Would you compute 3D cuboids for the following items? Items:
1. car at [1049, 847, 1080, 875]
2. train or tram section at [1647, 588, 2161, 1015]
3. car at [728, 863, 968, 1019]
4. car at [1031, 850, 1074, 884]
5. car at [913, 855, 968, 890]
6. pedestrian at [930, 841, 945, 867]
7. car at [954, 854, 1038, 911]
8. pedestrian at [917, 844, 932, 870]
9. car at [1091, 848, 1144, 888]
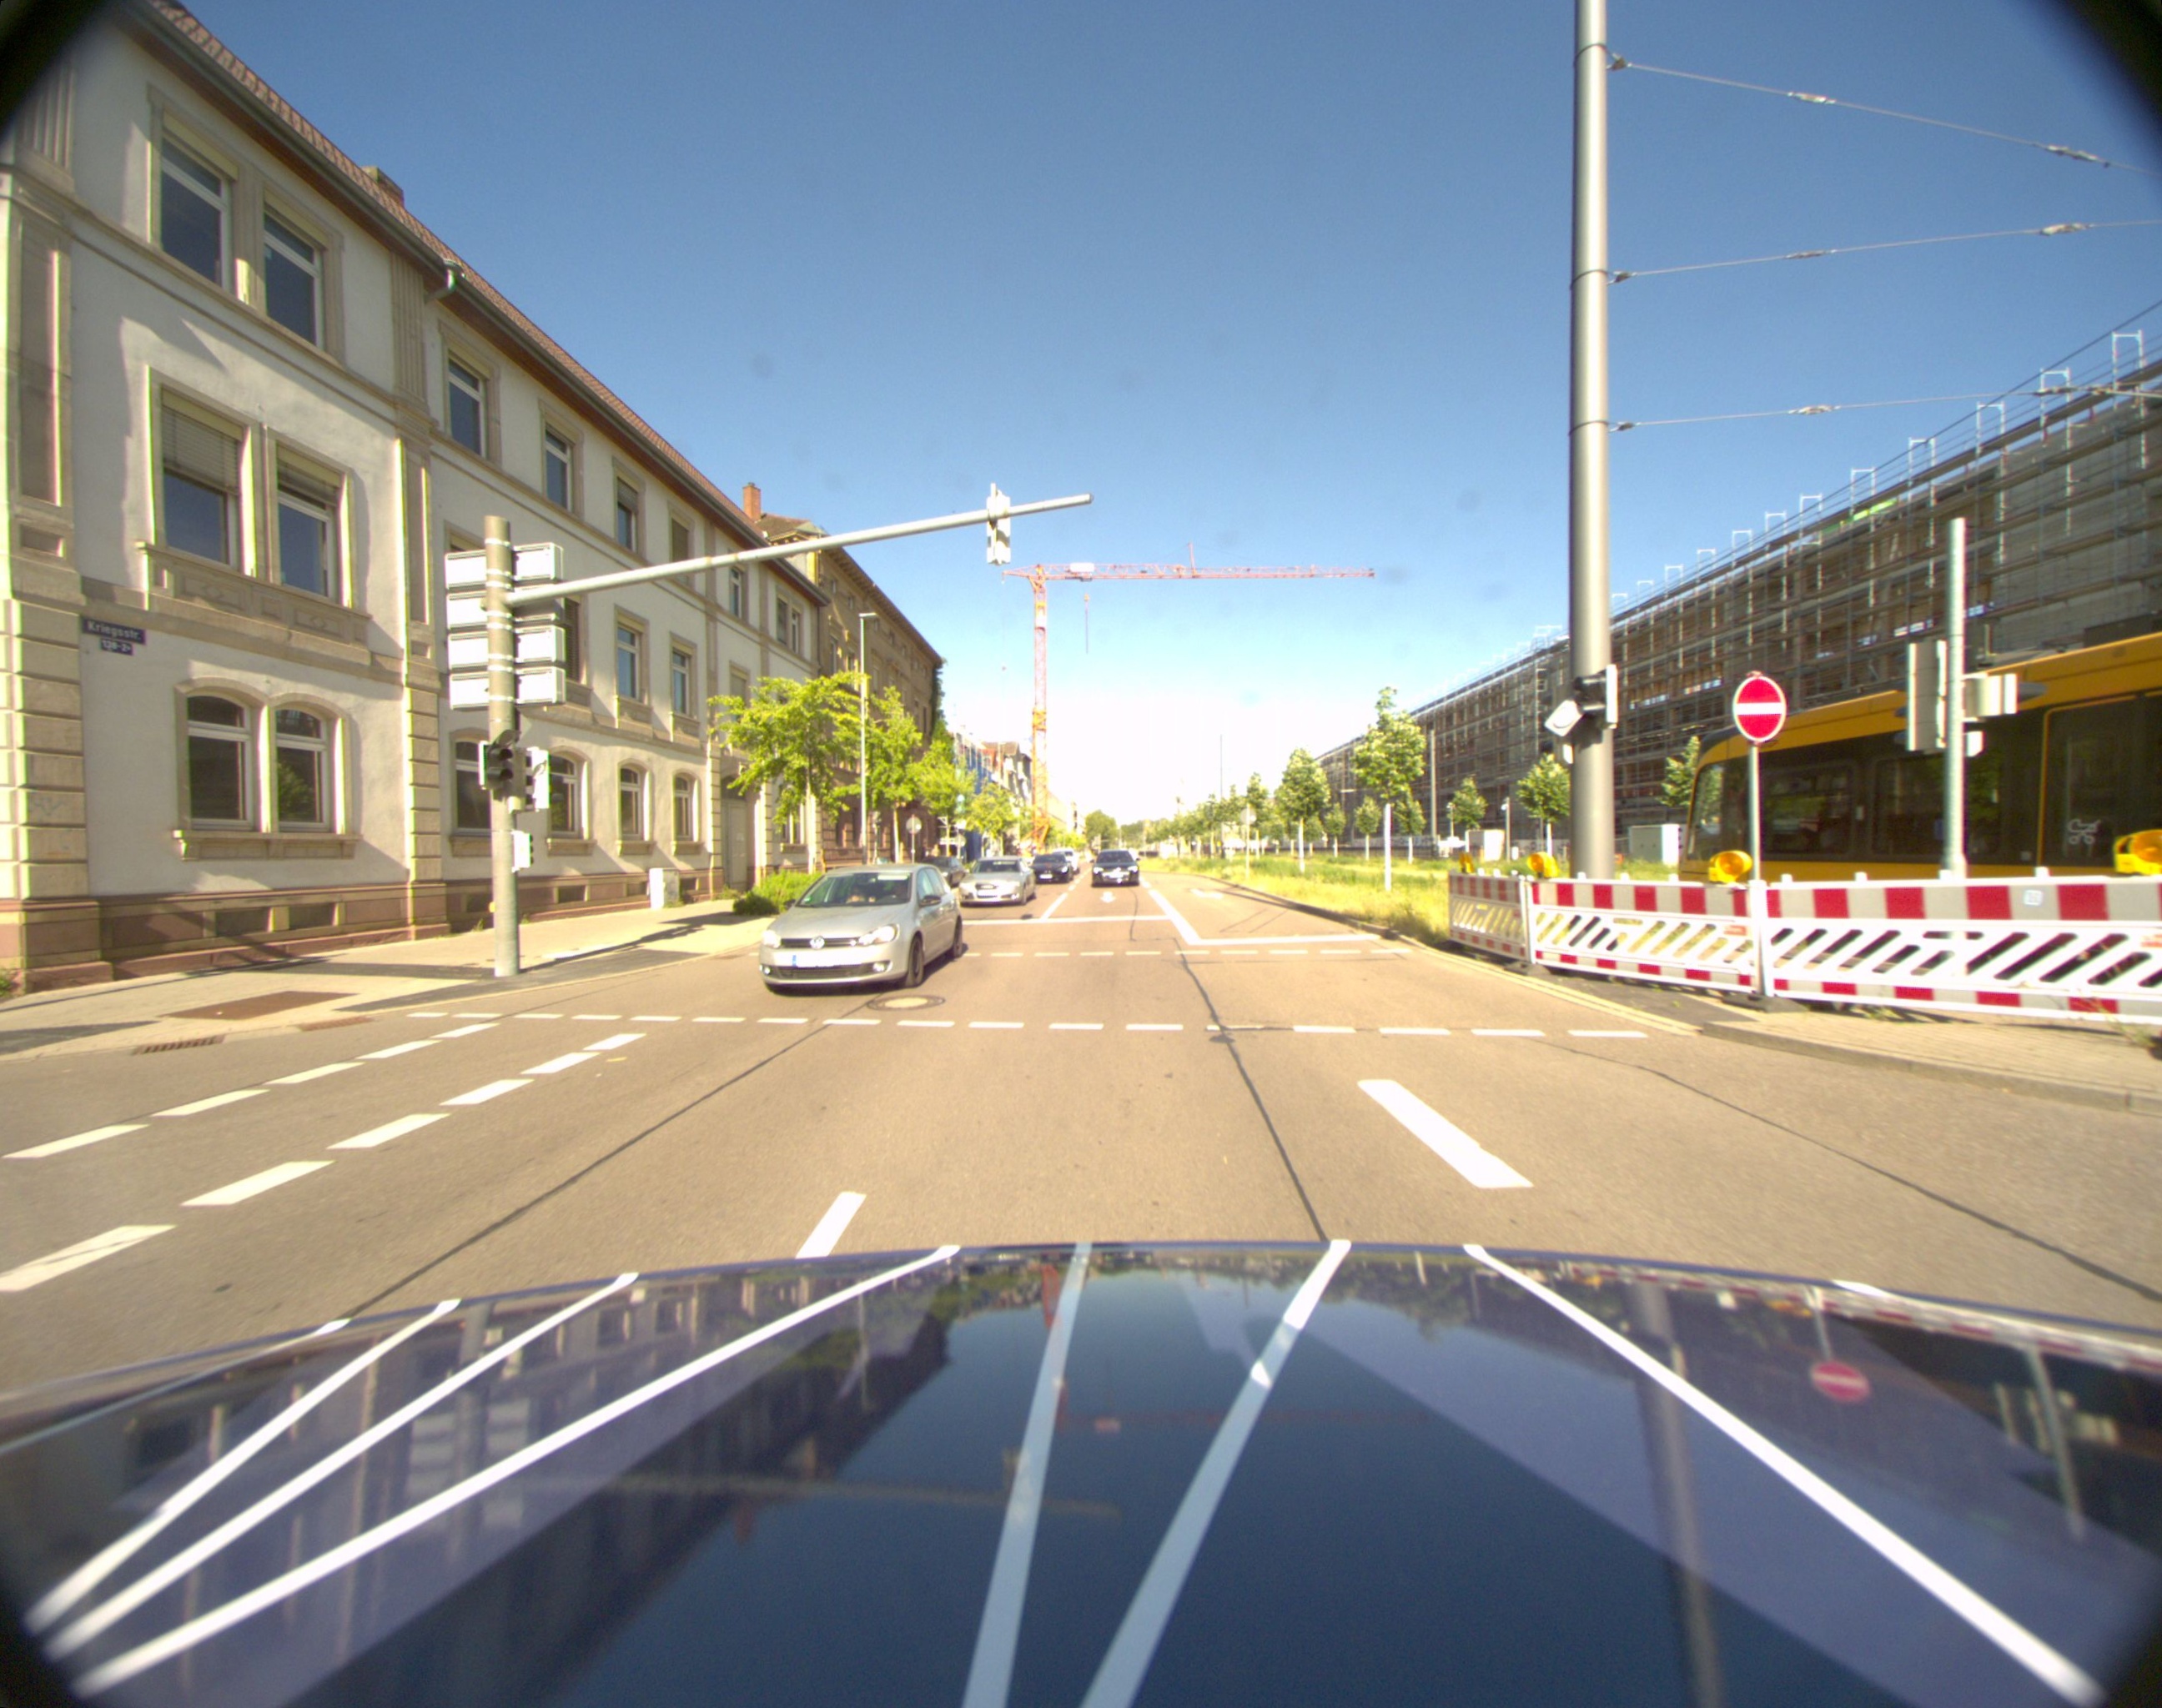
[{"bbox_3d":[-0.985,0.397,47.880,1.703,1.622,4.000,-2,1,2],"label":"car"},{"bbox_3d":[10.220,-0.463,6.146,1.998,3.648,14.155,-2,1,6],"label":"train or tram section"},{"bbox_3d":[-2.717,0.932,9.885,1.703,1.466,4.000,-2,1,2],"label":"car"},{"bbox_3d":[-1.299,0.590,35.920,1.703,1.416,4.000,-2,1,2],"label":"car"},{"bbox_3d":[-6.344,0.783,34.631,1.609,1.435,4.000,0,1,2],"label":"car"},{"bbox_3d":[-8.831,0.005,46.826,0.669,1.552,0.906,-2,1,0],"label":"pedestrian"},{"bbox_3d":[-2.408,0.779,22.479,1.839,1.416,4.000,-2,1,2],"label":"car"},{"bbox_3d":[-9.630,0.165,46.734,0.669,1.552,0.906,-2,1,0],"label":"pedestrian"},{"bbox_3d":[1.449,0.533,31.423,1.998,1.493,3.999,-1,1,0],"label":"car"}]
